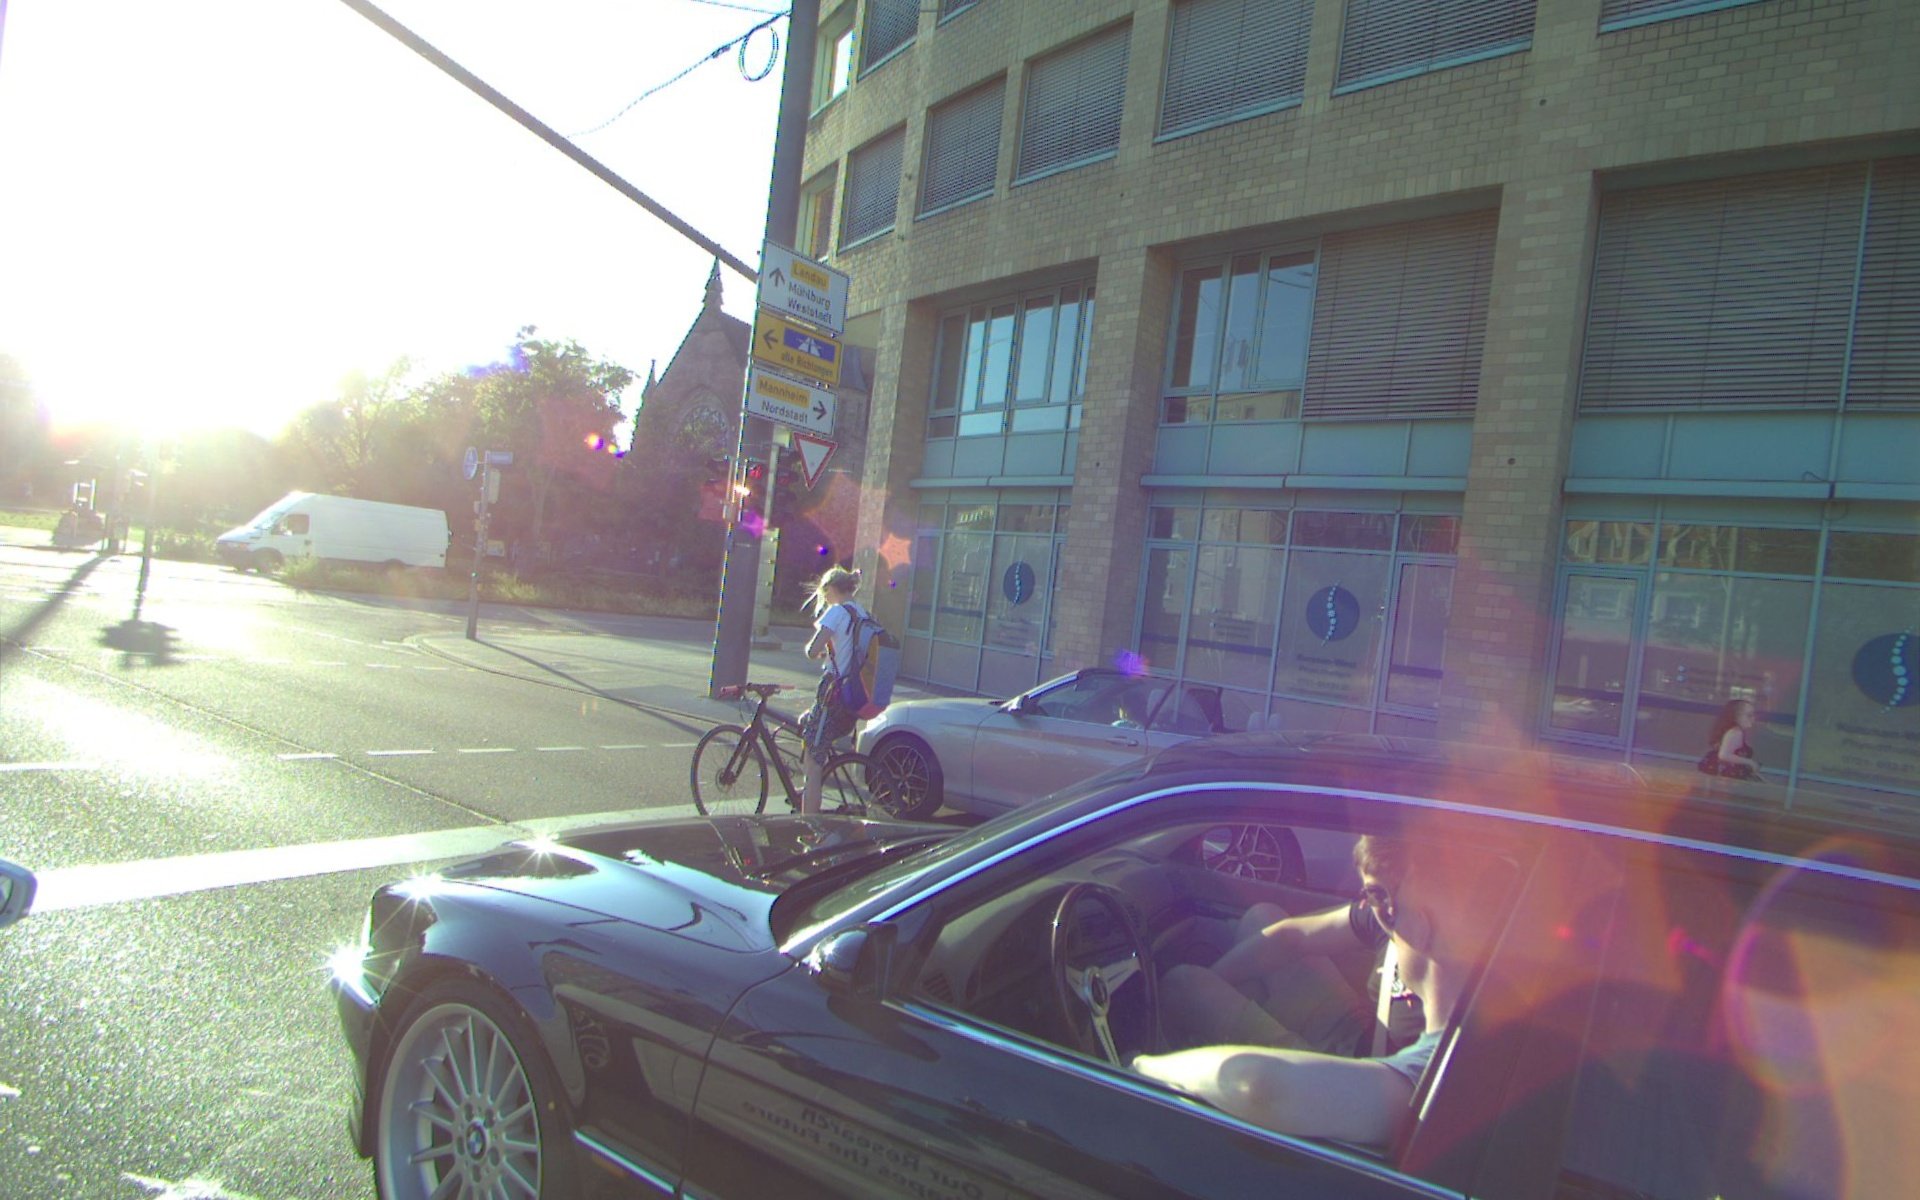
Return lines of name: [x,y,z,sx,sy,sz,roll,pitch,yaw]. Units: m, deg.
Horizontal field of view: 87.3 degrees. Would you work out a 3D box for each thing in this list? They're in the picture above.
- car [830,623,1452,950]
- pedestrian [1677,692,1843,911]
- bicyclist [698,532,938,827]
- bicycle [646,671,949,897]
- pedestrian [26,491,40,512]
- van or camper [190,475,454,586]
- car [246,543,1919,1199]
car: [1.278,1.182,7.674,4.195,1.370,1.786,8,0,31]
pedestrian: [6.636,1.632,8.399,0.786,1.589,0.678,9,2,29]
bicyclist: [-0.822,0.434,5.857,1.020,1.501,0.657,7,-1,29]
bicycle: [-0.994,1.026,5.965,1.745,0.966,0.516,7,-1,30]
pedestrian: [-82.855,-8.801,89.911,0.795,1.722,0.790,6,1,-44]
van or camper: [-21.555,-2.247,34.439,2.556,2.708,7.048,9,1,33]
car: [0.836,0.894,1.938,4.563,1.370,1.833,8,0,31]
